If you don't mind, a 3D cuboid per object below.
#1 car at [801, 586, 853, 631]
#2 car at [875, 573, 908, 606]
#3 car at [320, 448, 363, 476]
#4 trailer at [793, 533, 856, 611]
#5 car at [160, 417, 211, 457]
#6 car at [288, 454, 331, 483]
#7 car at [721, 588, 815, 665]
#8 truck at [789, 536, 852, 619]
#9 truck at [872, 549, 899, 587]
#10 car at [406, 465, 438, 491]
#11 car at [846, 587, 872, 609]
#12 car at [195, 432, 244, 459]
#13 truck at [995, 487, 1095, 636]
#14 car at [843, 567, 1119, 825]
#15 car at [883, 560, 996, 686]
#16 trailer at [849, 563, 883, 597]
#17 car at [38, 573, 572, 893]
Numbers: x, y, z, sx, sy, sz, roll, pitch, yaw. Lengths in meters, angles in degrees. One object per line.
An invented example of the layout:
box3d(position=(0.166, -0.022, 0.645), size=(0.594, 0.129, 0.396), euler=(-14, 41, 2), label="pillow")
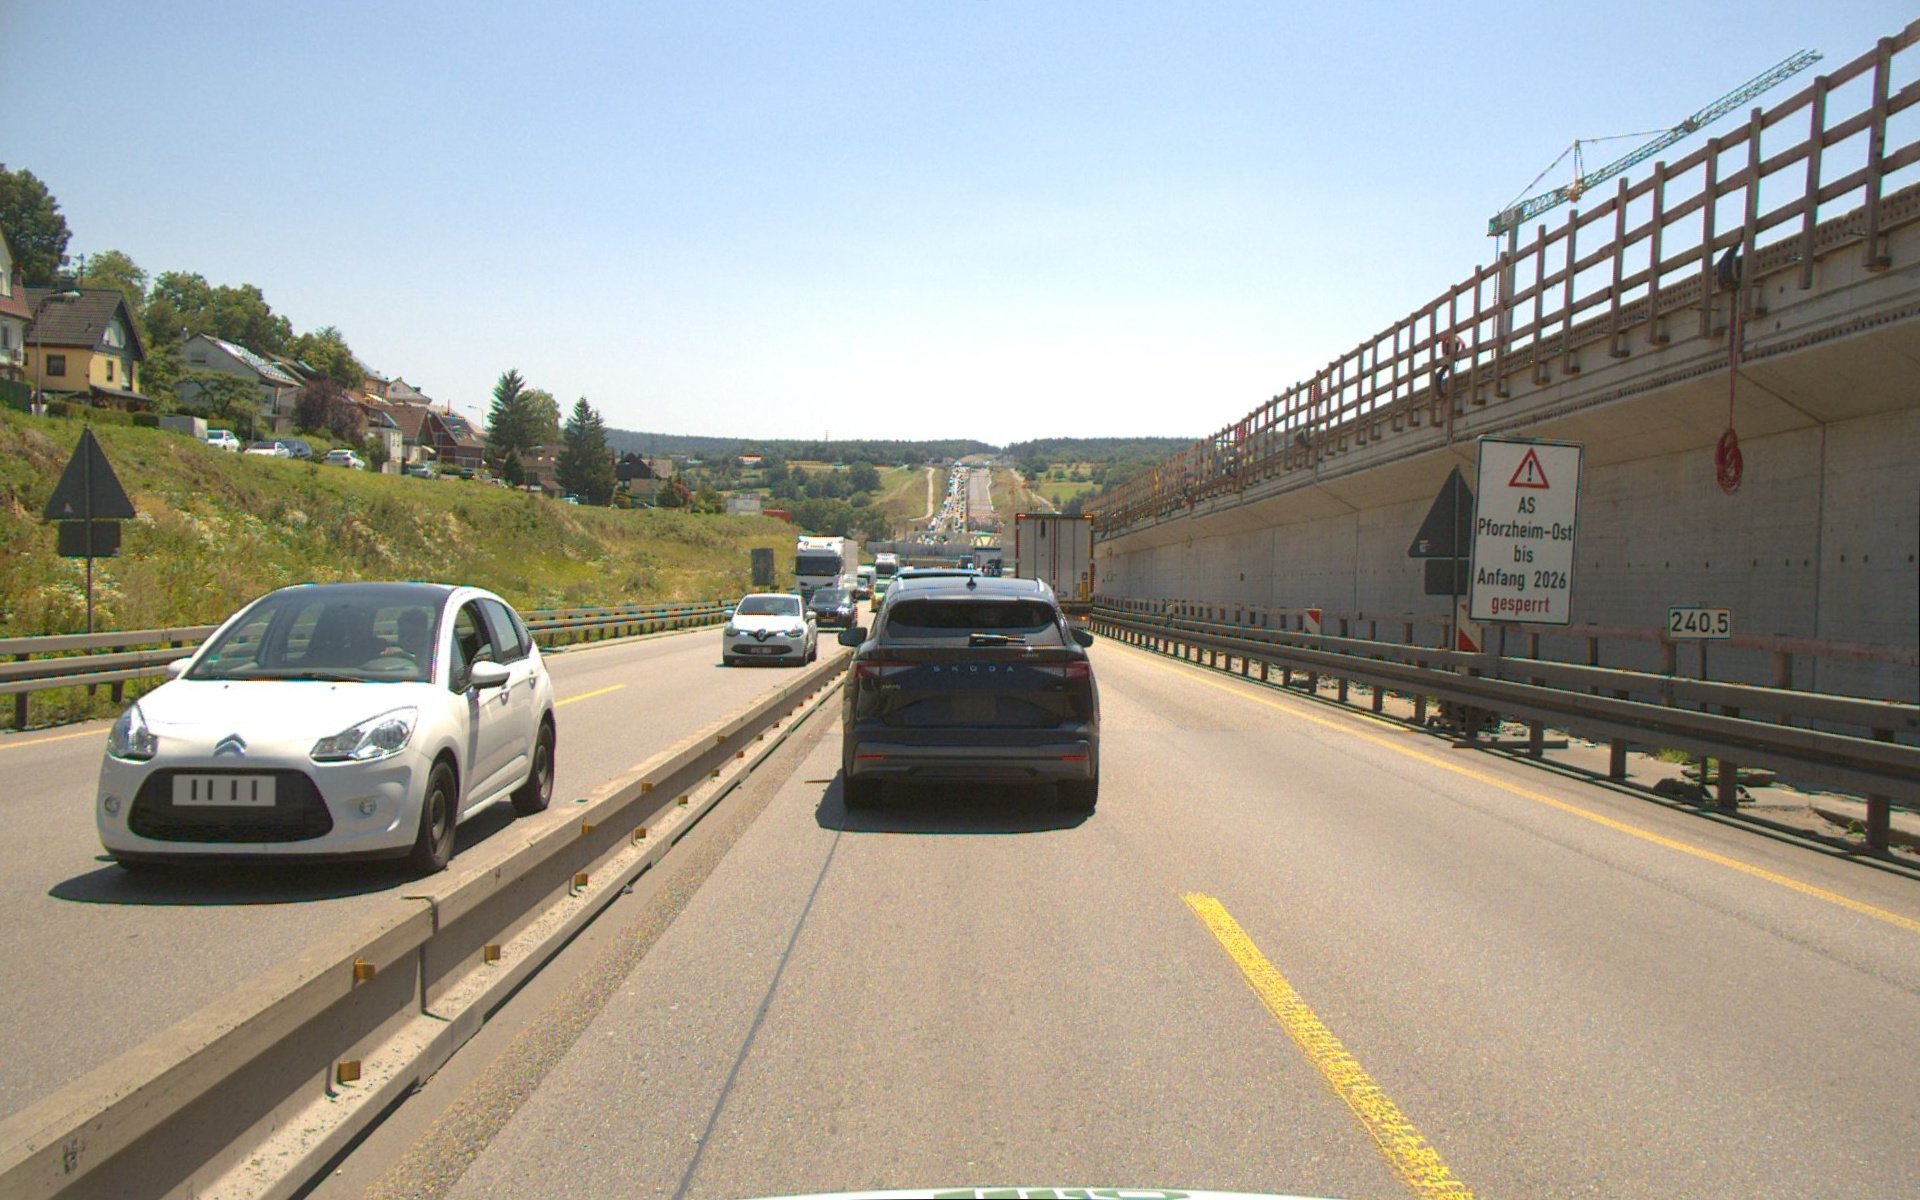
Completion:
box3d(position=(-4.929, 0.286, 61.771), size=(1.665, 1.588, 4.102), euler=(1, 0, -1), label="car")
box3d(position=(-3.926, -0.606, 95.301), size=(1.739, 1.852, 4.433), euler=(1, 0, -1), label="car")
box3d(position=(-41.097, -9.161, 110.010), size=(1.958, 1.342, 3.989), euler=(4, -1, -11), label="car")
box3d(position=(-7.808, -1.559, 96.628), size=(3.156, 4.231, 13.401), euler=(0, 0, -3), label="trailer")
box3d(position=(-36.606, -7.690, 78.245), size=(1.701, 1.422, 3.782), euler=(3, 0, -18), label="car")
box3d(position=(-38.781, -7.818, 98.655), size=(1.562, 1.444, 3.990), euler=(1, 0, -10), label="car")
box3d(position=(-3.977, 0.510, 34.684), size=(1.657, 1.512, 3.748), euler=(1, 0, -2), label="car")
box3d(position=(-7.512, -1.159, 89.765), size=(3.117, 4.312, 6.481), euler=(1, -1, -3), label="truck")
box3d(position=(-8.689, -3.680, 192.780), size=(2.697, 4.301, 8.099), euler=(1, 1, 0), label="truck")
box3d(position=(-42.091, -9.550, 129.451), size=(1.890, 1.758, 3.990), euler=(1, 0, -11), label="car")
box3d(position=(-7.958, -0.136, 130.326), size=(1.712, 1.612, 3.999), euler=(4, -1, -1), label="car")
box3d(position=(-37.150, -7.753, 83.035), size=(1.255, 1.057, 3.270), euler=(0, 0, -6), label="car")
box3d(position=(2.823, -1.167, 58.653), size=(2.788, 4.696, 11.809), euler=(1, -1, 0), label="truck")
box3d(position=(0.080, 0.613, 12.448), size=(1.747, 1.625, 3.754), euler=(1, 0, -2), label="car")
box3d(position=(-0.414, 0.362, 28.404), size=(1.715, 1.928, 3.753), euler=(3, 0, -3), label="car")
box3d(position=(-7.825, -1.626, 138.438), size=(2.434, 2.659, 5.867), euler=(0, -1, 0), label="trailer")
box3d(position=(-3.571, 0.627, 9.819), size=(1.731, 1.512, 3.864), euler=(1, 0, -2), label="car")
